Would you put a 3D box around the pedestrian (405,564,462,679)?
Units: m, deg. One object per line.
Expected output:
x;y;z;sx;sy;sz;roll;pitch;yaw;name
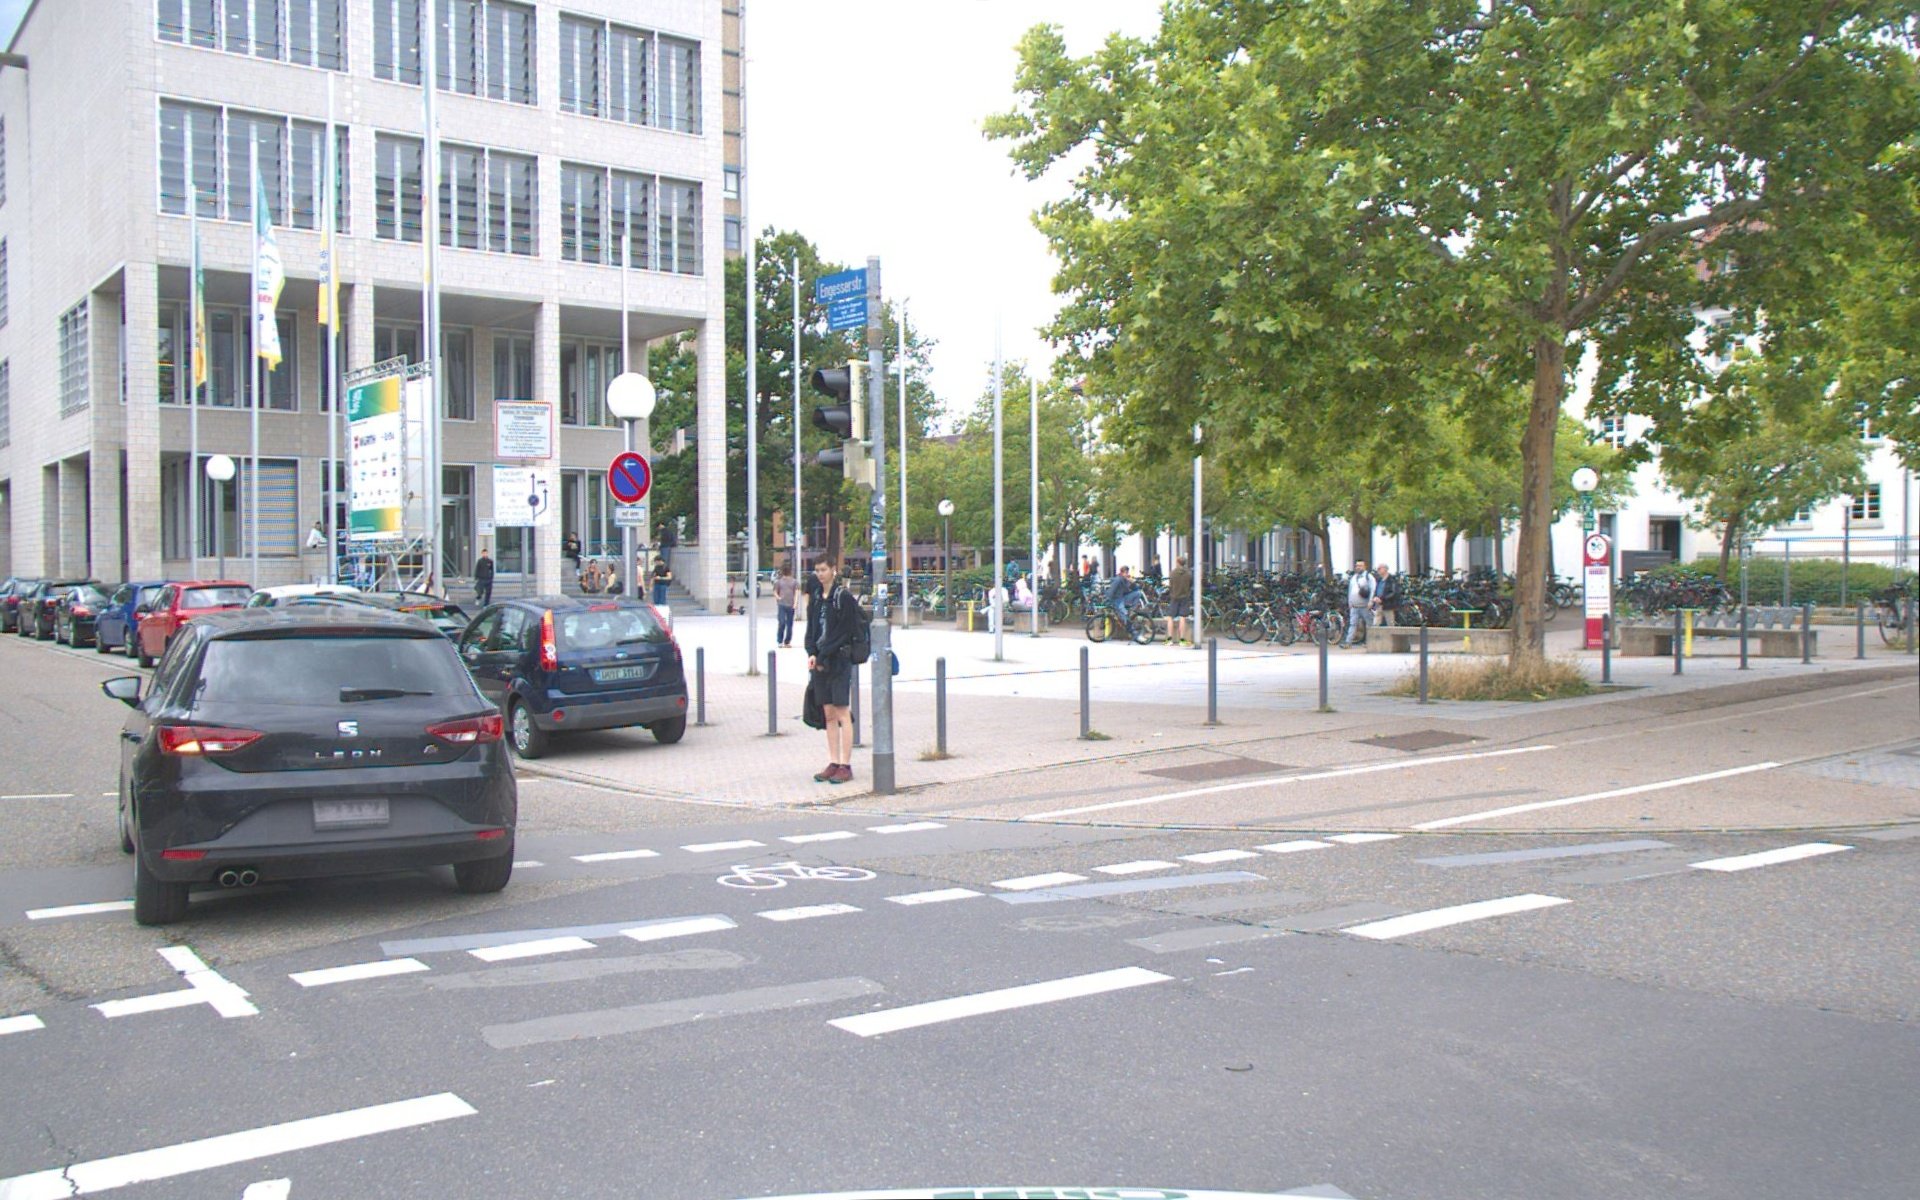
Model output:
-8.513;0.338;26.728;0.781;1.818;0.815;0;0;-25;pedestrian

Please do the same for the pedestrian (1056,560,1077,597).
4.776;-0.957;73.985;0.656;1.669;0.684;0;1;-39;pedestrian

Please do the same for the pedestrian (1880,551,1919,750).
8.462;0.431;14.048;0.745;1.654;0.788;-1;4;-24;pedestrian

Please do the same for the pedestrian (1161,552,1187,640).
4.590;-0.081;35.536;0.499;1.865;0.674;0;0;3;pedestrian

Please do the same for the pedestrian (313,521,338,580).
-18.581;-1.441;48.423;0.620;1.687;0.802;2;2;-21;pedestrian

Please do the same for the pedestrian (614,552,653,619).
-8.910;-0.399;45.186;0.723;1.816;0.760;0;0;39;pedestrian

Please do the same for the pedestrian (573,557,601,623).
-10.647;-0.274;47.152;0.586;1.873;0.612;0;0;-36;pedestrian

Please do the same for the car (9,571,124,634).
-22.539;0.018;41.648;1.805;1.468;4.459;-2;2;-38;car

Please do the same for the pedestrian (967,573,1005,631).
0.654;0.046;41.064;0.751;1.438;0.673;0;0;21;pedestrian

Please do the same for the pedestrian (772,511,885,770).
-1.055;0.301;13.172;0.777;1.986;0.755;-1;1;-13;pedestrian

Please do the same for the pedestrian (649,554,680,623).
-8.214;-0.313;45.987;0.589;1.897;0.780;-1;1;11;pedestrian

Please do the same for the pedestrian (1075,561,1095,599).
5.529;-0.894;73.137;0.656;1.669;0.657;0;1;-39;pedestrian

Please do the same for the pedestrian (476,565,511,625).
-13.249;-0.147;46.978;0.749;1.698;0.696;-1;1;-36;pedestrian

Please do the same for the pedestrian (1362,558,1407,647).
8.462;0.040;33.002;0.578;1.745;0.651;0;0;-31;pedestrian

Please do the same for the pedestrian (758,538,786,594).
-5.772;-1.046;50.718;0.720;1.669;0.931;2;2;-2;pedestrian

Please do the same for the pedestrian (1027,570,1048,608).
3.441;-0.487;73.436;0.656;1.669;0.656;-1;0;-40;pedestrian

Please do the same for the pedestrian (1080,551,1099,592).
5.270;-1.162;67.297;0.646;1.669;0.667;-1;1;10;pedestrian

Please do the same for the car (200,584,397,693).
-10.034;0.514;24.940;1.847;1.478;3.808;0;1;-37;car

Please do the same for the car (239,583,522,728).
-7.188;0.583;20.260;1.849;1.426;4.415;-4;3;-39;car

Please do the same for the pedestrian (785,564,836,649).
-3.197;0.134;35.411;0.887;1.742;0.695;-1;3;7;pedestrian

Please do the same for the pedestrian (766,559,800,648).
-3.762;0.059;35.172;0.629;1.839;0.647;2;2;-5;pedestrian

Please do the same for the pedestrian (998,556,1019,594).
2.177;-1.120;73.634;0.656;1.669;0.657;-1;1;-39;pedestrian

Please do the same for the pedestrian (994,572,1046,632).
1.468;0.046;40.477;0.951;1.445;0.847;0;1;42;pedestrian

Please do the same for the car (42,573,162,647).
-19.642;0.191;37.791;1.834;1.467;4.363;0;2;-36;car

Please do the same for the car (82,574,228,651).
-16.480;0.217;33.775;1.685;1.436;4.313;-1;1;-40;car

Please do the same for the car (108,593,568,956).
-3.583;0.714;9.030;1.763;1.444;4.089;0;1;-29;car

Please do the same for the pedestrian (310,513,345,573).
-18.195;-1.646;47.578;0.790;1.687;0.629;2;2;-13;pedestrian

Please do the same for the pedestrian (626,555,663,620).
-8.912;-0.349;46.786;0.723;1.816;0.718;0;1;39;pedestrian

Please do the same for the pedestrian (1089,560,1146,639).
3.546;-0.030;37.257;0.844;1.733;0.955;-2;2;-40;pedestrian

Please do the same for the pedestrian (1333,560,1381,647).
8.091;0.071;33.740;0.664;1.745;0.671;-1;1;-31;pedestrian

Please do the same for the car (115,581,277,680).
-13.400;0.470;28.891;1.700;1.498;4.218;-3;3;-37;car

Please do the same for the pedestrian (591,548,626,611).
-9.837;-0.576;46.333;0.771;1.745;0.596;-1;1;-36;pedestrian
